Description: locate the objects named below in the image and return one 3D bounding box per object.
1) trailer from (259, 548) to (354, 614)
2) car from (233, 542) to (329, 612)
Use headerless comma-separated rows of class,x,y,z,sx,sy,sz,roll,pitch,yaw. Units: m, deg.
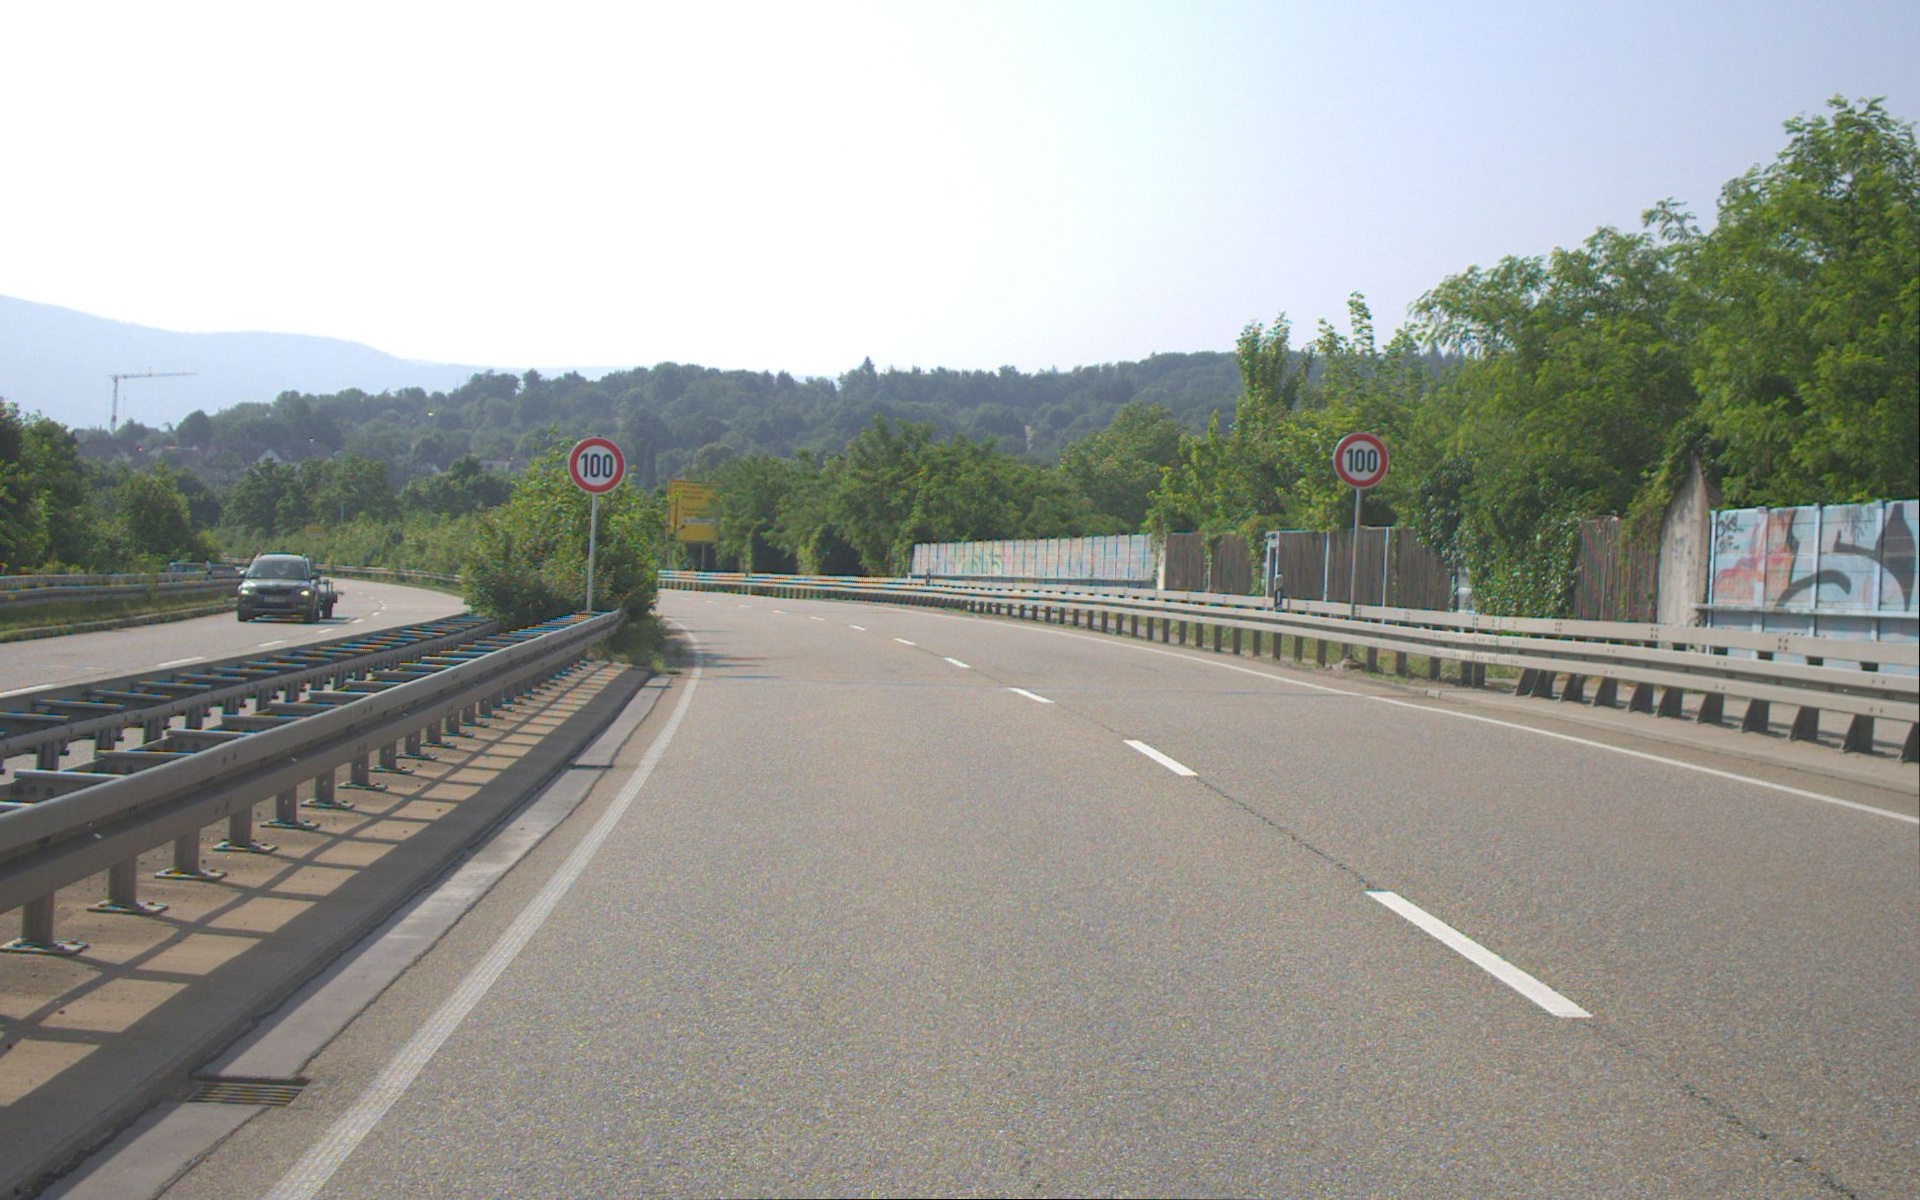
trailer,-16.616,-0.509,87.605,1.718,1.573,4.813,2,1,-4
car,-16.407,-0.563,83.191,1.723,1.591,4.001,2,1,-4
